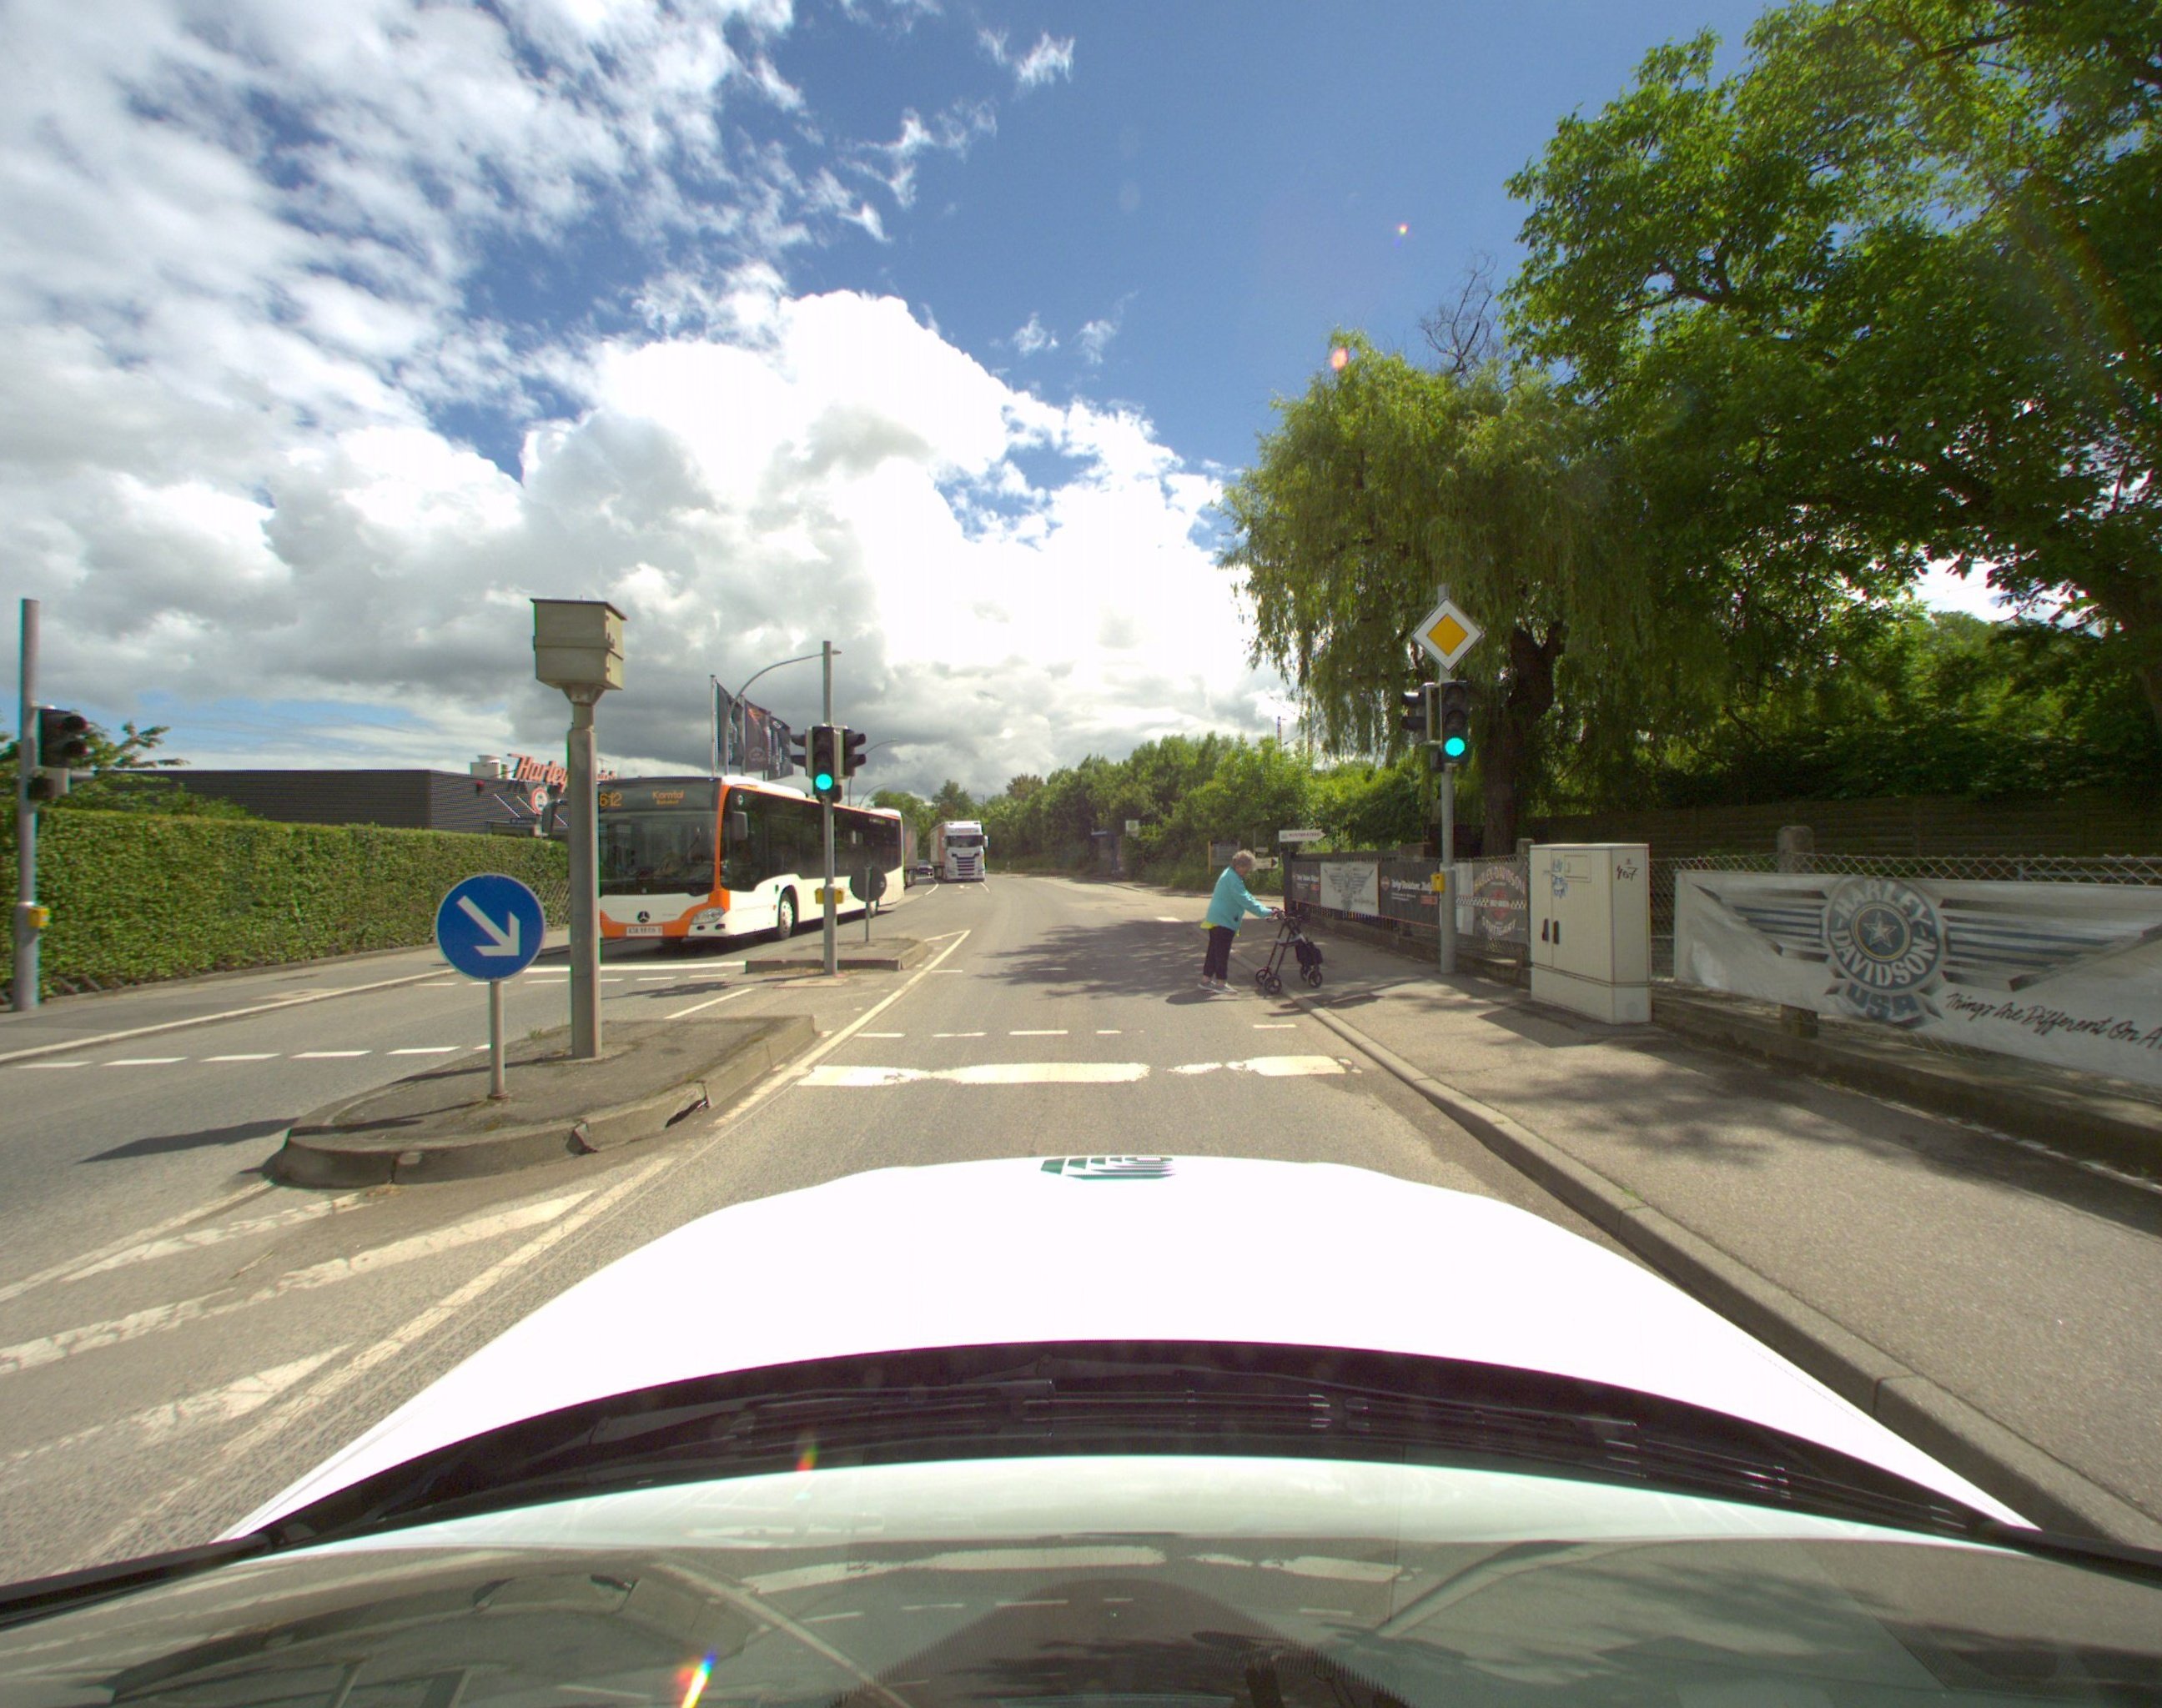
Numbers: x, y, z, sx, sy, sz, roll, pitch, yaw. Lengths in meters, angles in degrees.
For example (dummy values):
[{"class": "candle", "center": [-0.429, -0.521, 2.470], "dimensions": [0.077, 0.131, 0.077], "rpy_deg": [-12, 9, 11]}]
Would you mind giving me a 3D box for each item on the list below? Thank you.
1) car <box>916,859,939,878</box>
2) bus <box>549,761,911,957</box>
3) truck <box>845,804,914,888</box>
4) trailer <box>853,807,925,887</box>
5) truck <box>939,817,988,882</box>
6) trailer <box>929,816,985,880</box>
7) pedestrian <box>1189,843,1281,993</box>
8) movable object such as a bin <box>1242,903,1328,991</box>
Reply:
[{"class": "car", "center": [-14.543, 1.345, 76.853], "dimensions": [1.995, 1.706, 3.982], "rpy_deg": [0, -1, -13]}, {"class": "bus", "center": [-6.818, 0.126, 18.977], "dimensions": [2.708, 3.031, 12.270], "rpy_deg": [-2, -1, 2]}, {"class": "truck", "center": [-10.374, -0.362, 42.539], "dimensions": [2.797, 4.053, 6.483], "rpy_deg": [0, -1, -8]}, {"class": "trailer", "center": [-11.352, -0.298, 49.606], "dimensions": [2.797, 4.053, 15.512], "rpy_deg": [0, 0, -8]}, {"class": "truck", "center": [-7.906, -0.262, 54.389], "dimensions": [2.775, 4.119, 4.962], "rpy_deg": [0, -1, -14]}, {"class": "trailer", "center": [-9.488, -0.306, 60.808], "dimensions": [2.775, 4.145, 15.277], "rpy_deg": [0, -1, -14]}, {"class": "pedestrian", "center": [1.641, 0.664, 8.810], "dimensions": [0.836, 1.543, 0.733], "rpy_deg": [0, -1, -2]}, {"class": "movable object such as a bin", "center": [2.196, 0.992, 8.833], "dimensions": [0.744, 0.871, 0.670], "rpy_deg": [0, -1, -2]}]
